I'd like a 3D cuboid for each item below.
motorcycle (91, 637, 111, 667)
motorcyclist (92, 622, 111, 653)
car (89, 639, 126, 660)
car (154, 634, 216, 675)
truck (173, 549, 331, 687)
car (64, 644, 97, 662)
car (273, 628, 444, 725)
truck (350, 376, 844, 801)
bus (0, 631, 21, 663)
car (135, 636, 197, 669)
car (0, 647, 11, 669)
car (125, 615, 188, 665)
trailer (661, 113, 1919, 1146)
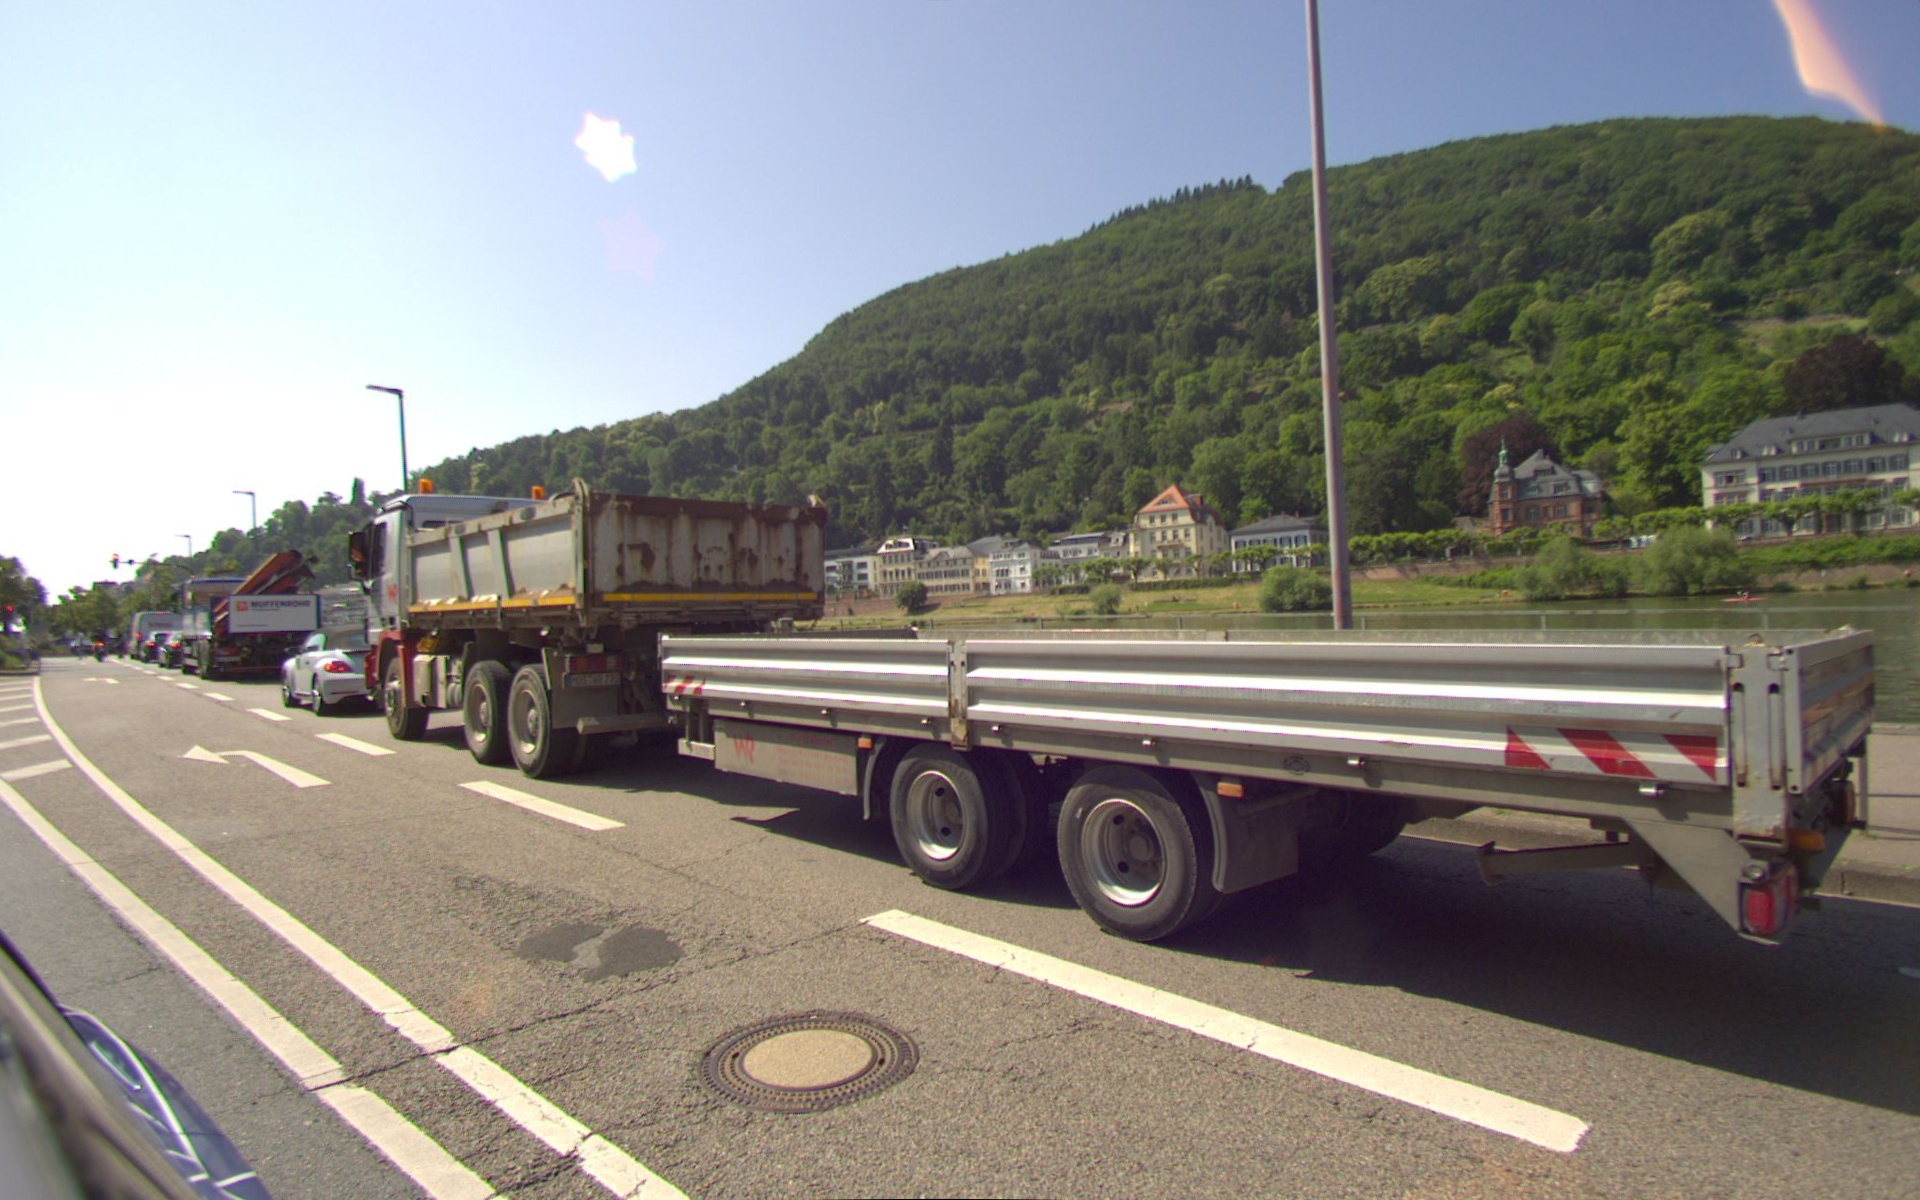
[{"bbox_3d":[-42.455,2.564,50.027,0.717,1.397,2.515,-1,-1,-41],"label":"motorcycle"},{"bbox_3d":[-42.795,1.862,50.466,0.693,1.538,0.862,-1,-2,-41],"label":"motorcyclist"},{"bbox_3d":[-66.292,3.862,78.670,1.970,1.463,4.265,-2,0,-43],"label":"car"},{"bbox_3d":[-30.043,2.083,39.188,1.637,1.447,4.087,-1,-1,-41],"label":"car"},{"bbox_3d":[-21.710,0.632,30.667,2.610,3.503,11.120,-1,-1,-42],"label":"truck"},{"bbox_3d":[-77.803,4.661,89.509,3.892,1.447,1.882,-2,-1,43],"label":"car"},{"bbox_3d":[-10.630,1.252,17.767,1.756,1.454,4.001,-1,-1,-43],"label":"car"},{"bbox_3d":[-4.803,0.004,12.060,2.611,3.483,7.878,1,-2,-43],"label":"truck"},{"bbox_3d":[-108.676,5.352,114.126,10.783,3.413,2.623,-3,-1,39],"label":"bus"},{"bbox_3d":[-37.437,2.437,47.651,1.969,1.429,4.926,-1,-1,-42],"label":"car"},{"bbox_3d":[-72.024,4.310,75.236,1.969,1.517,4.598,-1,-1,-41],"label":"car"},{"bbox_3d":[-42.836,2.158,53.905,2.168,2.545,4.753,3,-4,-43],"label":"car"},{"bbox_3d":[1.174,0.148,5.725,2.665,2.550,6.953,1,-2,-43],"label":"trailer"}]
